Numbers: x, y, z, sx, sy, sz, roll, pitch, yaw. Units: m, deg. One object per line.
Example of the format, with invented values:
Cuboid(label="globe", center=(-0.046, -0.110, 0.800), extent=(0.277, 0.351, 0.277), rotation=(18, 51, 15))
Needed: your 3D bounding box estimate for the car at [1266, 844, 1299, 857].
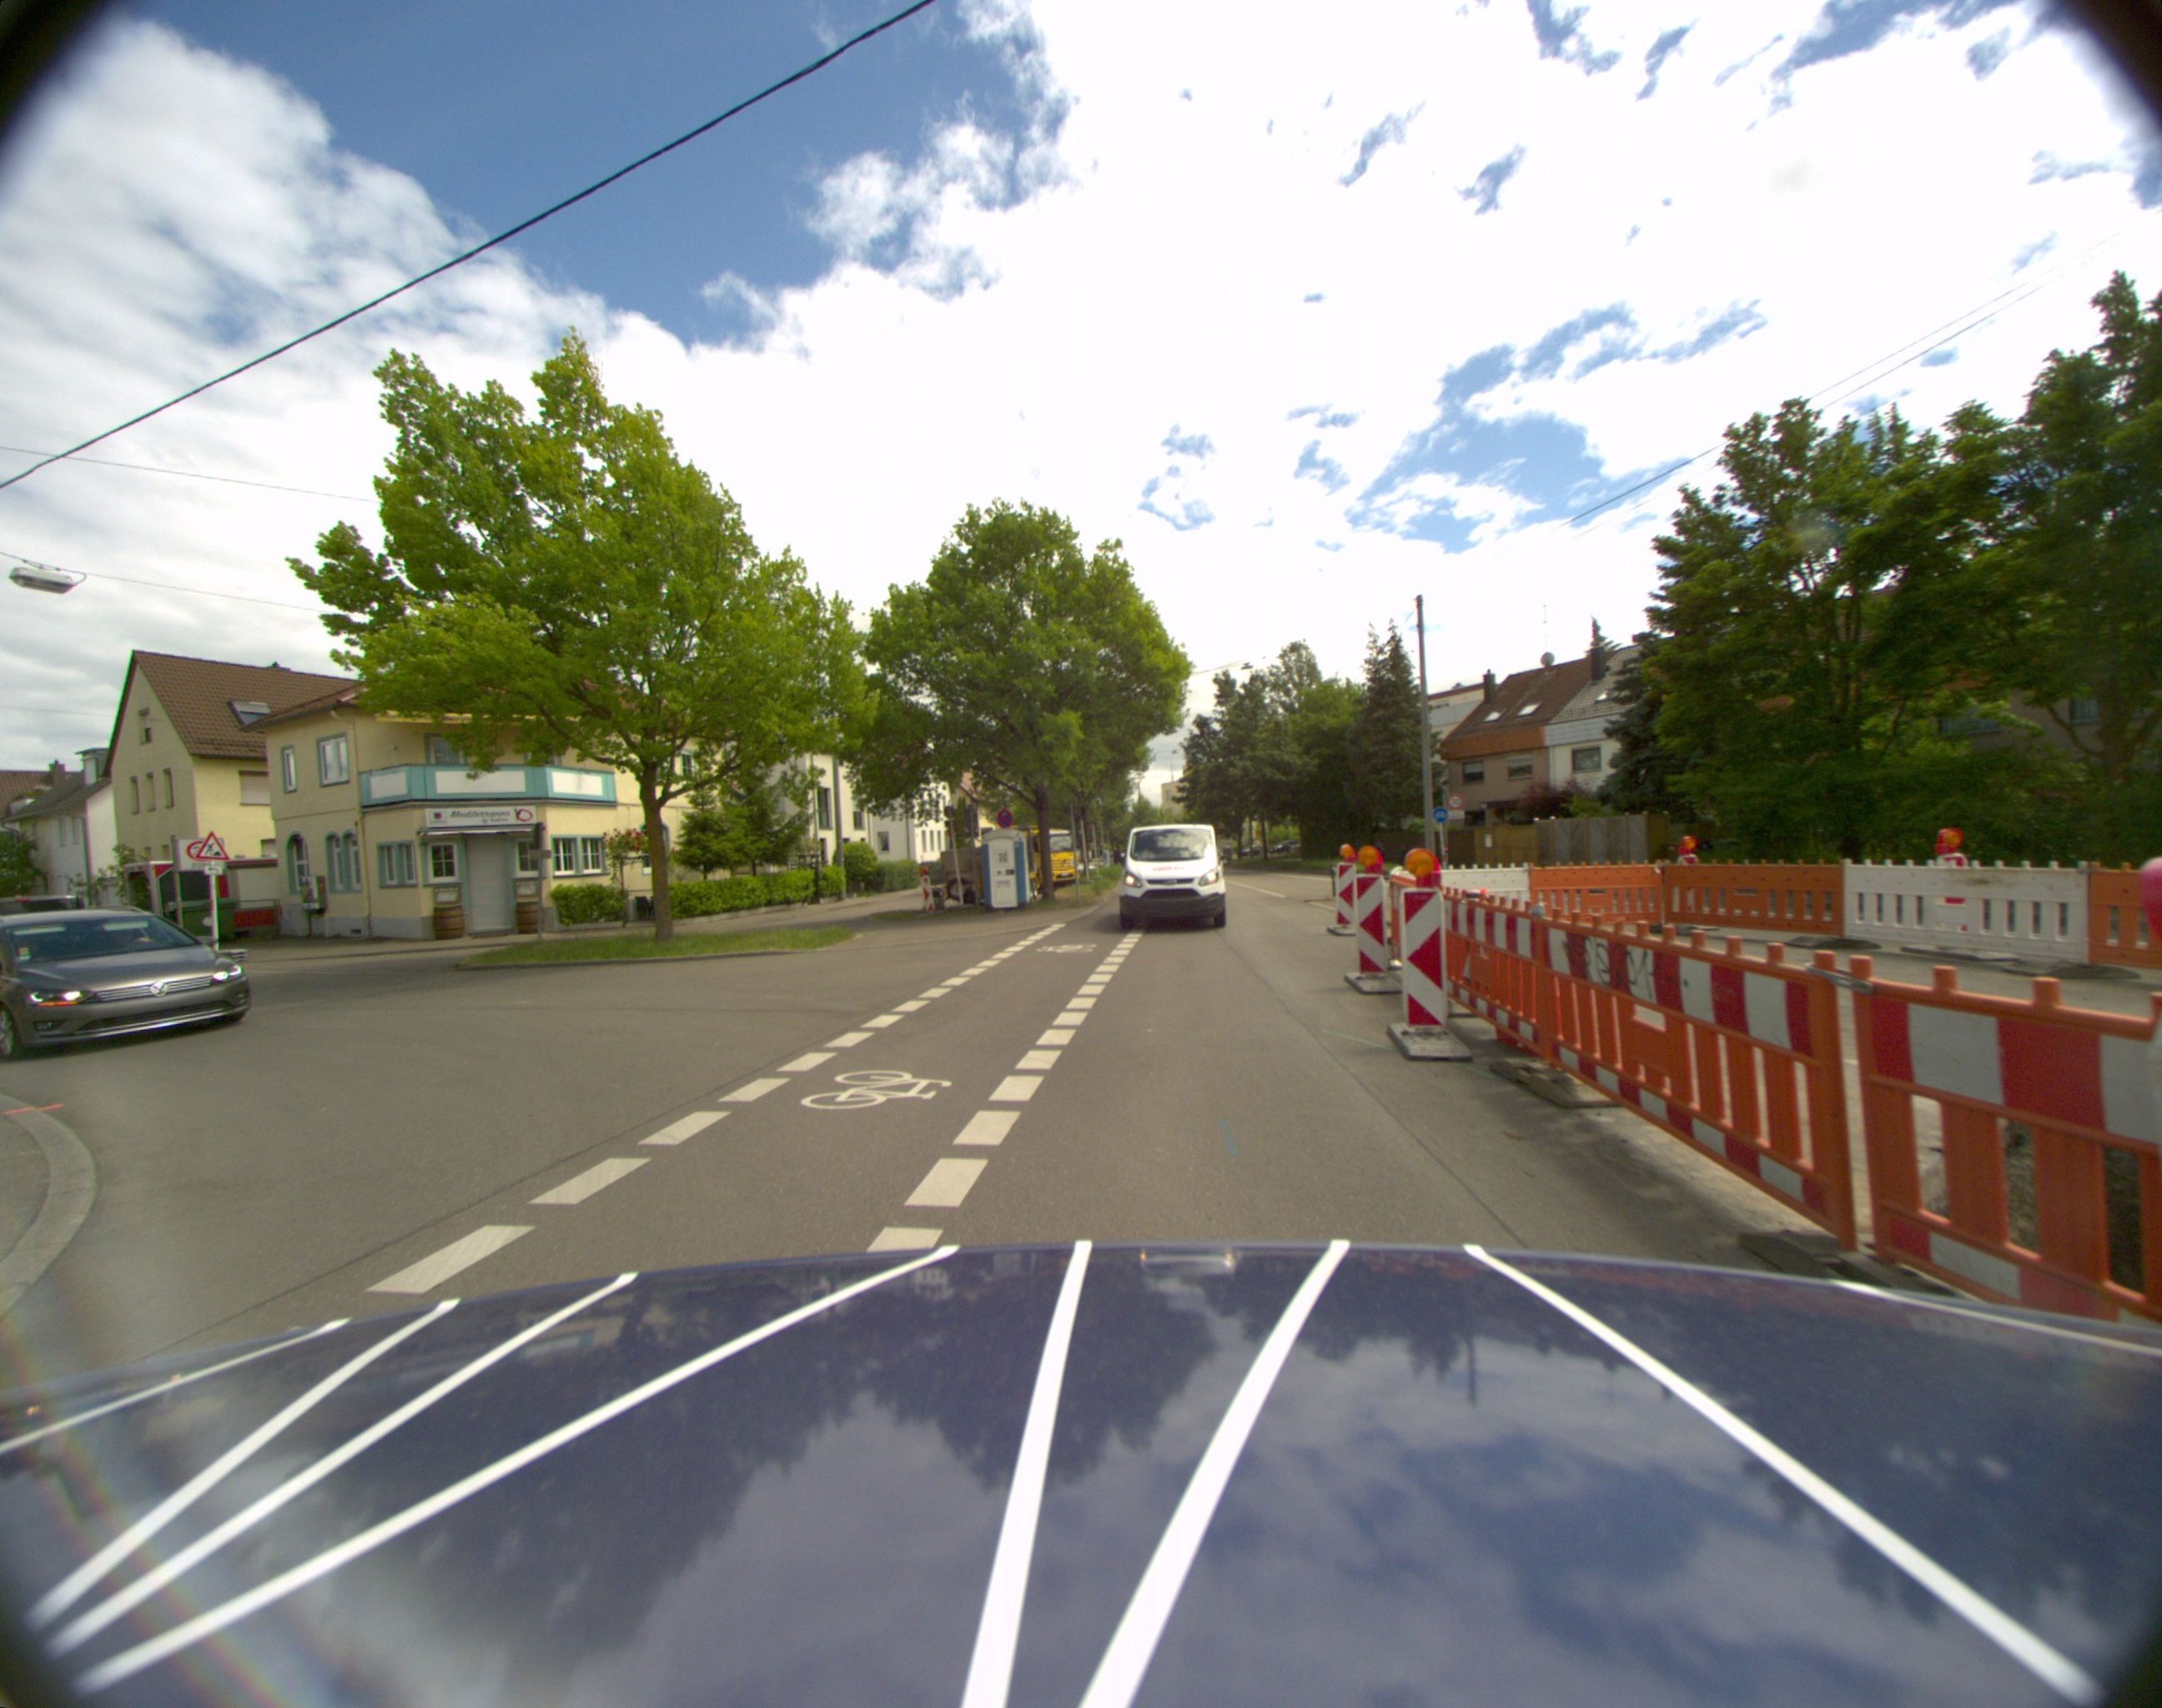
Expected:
Cuboid(label="car", center=(27.451, -0.467, 103.564), extent=(4.004, 1.499, 1.996), rotation=(-3, 1, -22))

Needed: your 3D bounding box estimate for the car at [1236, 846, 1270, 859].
Cuboid(label="car", center=(22.920, -0.221, 101.391), extent=(4.004, 1.499, 1.996), rotation=(-3, 1, -24))

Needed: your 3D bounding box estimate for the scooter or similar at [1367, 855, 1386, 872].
Cuboid(label="scooter or similar", center=(15.611, 0.509, 40.109), extent=(0.637, 0.859, 1.030), rotation=(-3, 1, 4))

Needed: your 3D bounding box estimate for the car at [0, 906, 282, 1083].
Cuboid(label="car", center=(-12.083, 1.581, 9.079), extent=(3.992, 1.616, 1.872), rotation=(-4, 0, 18))

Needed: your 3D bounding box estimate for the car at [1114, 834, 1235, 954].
Cuboid(label="car", center=(1.879, 0.635, 16.026), extent=(1.998, 2.002, 5.514), rotation=(-3, 1, 5))

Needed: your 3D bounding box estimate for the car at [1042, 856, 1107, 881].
Cuboid(label="car", center=(-0.477, 0.956, 51.771), extent=(2.004, 1.569, 4.295), rotation=(-2, 1, -43))

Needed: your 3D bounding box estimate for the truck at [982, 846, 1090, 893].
Cuboid(label="truck", center=(-2.383, 0.830, 38.533), extent=(2.004, 2.001, 5.943), rotation=(-3, -1, -44))

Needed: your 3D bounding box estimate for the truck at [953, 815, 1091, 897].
Cuboid(label="truck", center=(-2.852, 0.195, 35.028), extent=(6.616, 3.179, 2.347), rotation=(-6, -3, 44))

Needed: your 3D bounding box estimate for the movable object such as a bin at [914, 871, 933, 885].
Cuboid(label="movable object such as a bin", center=(-11.453, 1.758, 55.318), extent=(1.121, 0.935, 0.823), rotation=(-3, 1, 5))

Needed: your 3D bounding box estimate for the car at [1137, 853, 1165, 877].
Cuboid(label="car", center=(5.637, 0.839, 61.593), extent=(1.998, 1.719, 4.104), rotation=(-3, 0, 4))

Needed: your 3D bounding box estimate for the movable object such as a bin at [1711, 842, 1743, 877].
Cuboid(label="movable object such as a bin", center=(17.913, 0.148, 21.074), extent=(0.372, 0.972, 0.547), rotation=(-2, 1, -12))

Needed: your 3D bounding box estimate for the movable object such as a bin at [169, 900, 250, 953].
Cuboid(label="movable object such as a bin", center=(-27.375, 2.262, 23.880), extent=(1.303, 1.482, 1.416), rotation=(-3, 0, 31))

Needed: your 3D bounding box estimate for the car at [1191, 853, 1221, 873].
Cuboid(label="car", center=(10.339, 0.750, 63.029), extent=(1.698, 1.504, 3.999), rotation=(-2, 1, -1))

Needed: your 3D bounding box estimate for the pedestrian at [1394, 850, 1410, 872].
Cuboid(label="pedestrian", center=(16.716, 0.359, 39.534), extent=(0.556, 1.080, 0.642), rotation=(-3, 1, 4))

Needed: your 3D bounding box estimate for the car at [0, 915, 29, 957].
Cuboid(label="car", center=(-37.664, 2.837, 25.672), extent=(3.868, 1.353, 2.003), rotation=(-3, 0, 29))

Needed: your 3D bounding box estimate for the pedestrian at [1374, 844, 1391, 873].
Cuboid(label="pedestrian", center=(15.563, 0.221, 39.236), extent=(0.556, 1.472, 0.642), rotation=(-3, 1, 4))

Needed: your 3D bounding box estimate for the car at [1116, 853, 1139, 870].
Cuboid(label="car", center=(4.992, 0.779, 82.039), extent=(1.999, 1.652, 3.999), rotation=(-3, 0, -2))

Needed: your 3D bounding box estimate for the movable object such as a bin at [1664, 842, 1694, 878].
Cuboid(label="movable object such as a bin", center=(17.134, 0.179, 21.780), extent=(0.477, 1.005, 0.495), rotation=(-2, 1, 0))

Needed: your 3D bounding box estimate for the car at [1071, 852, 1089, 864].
Cuboid(label="car", center=(-0.212, 0.613, 120.899), extent=(2.000, 1.719, 4.100), rotation=(-3, 0, -11))

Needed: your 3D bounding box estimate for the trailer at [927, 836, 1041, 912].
Cuboid(label="trailer", center=(-3.228, 0.616, 26.986), extent=(2.598, 2.232, 5.676), rotation=(-5, 0, 6))

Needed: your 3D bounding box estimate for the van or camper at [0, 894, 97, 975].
Cuboid(label="van or camper", center=(-29.438, 2.212, 21.176), extent=(4.081, 1.987, 1.856), rotation=(-3, 0, 30))
